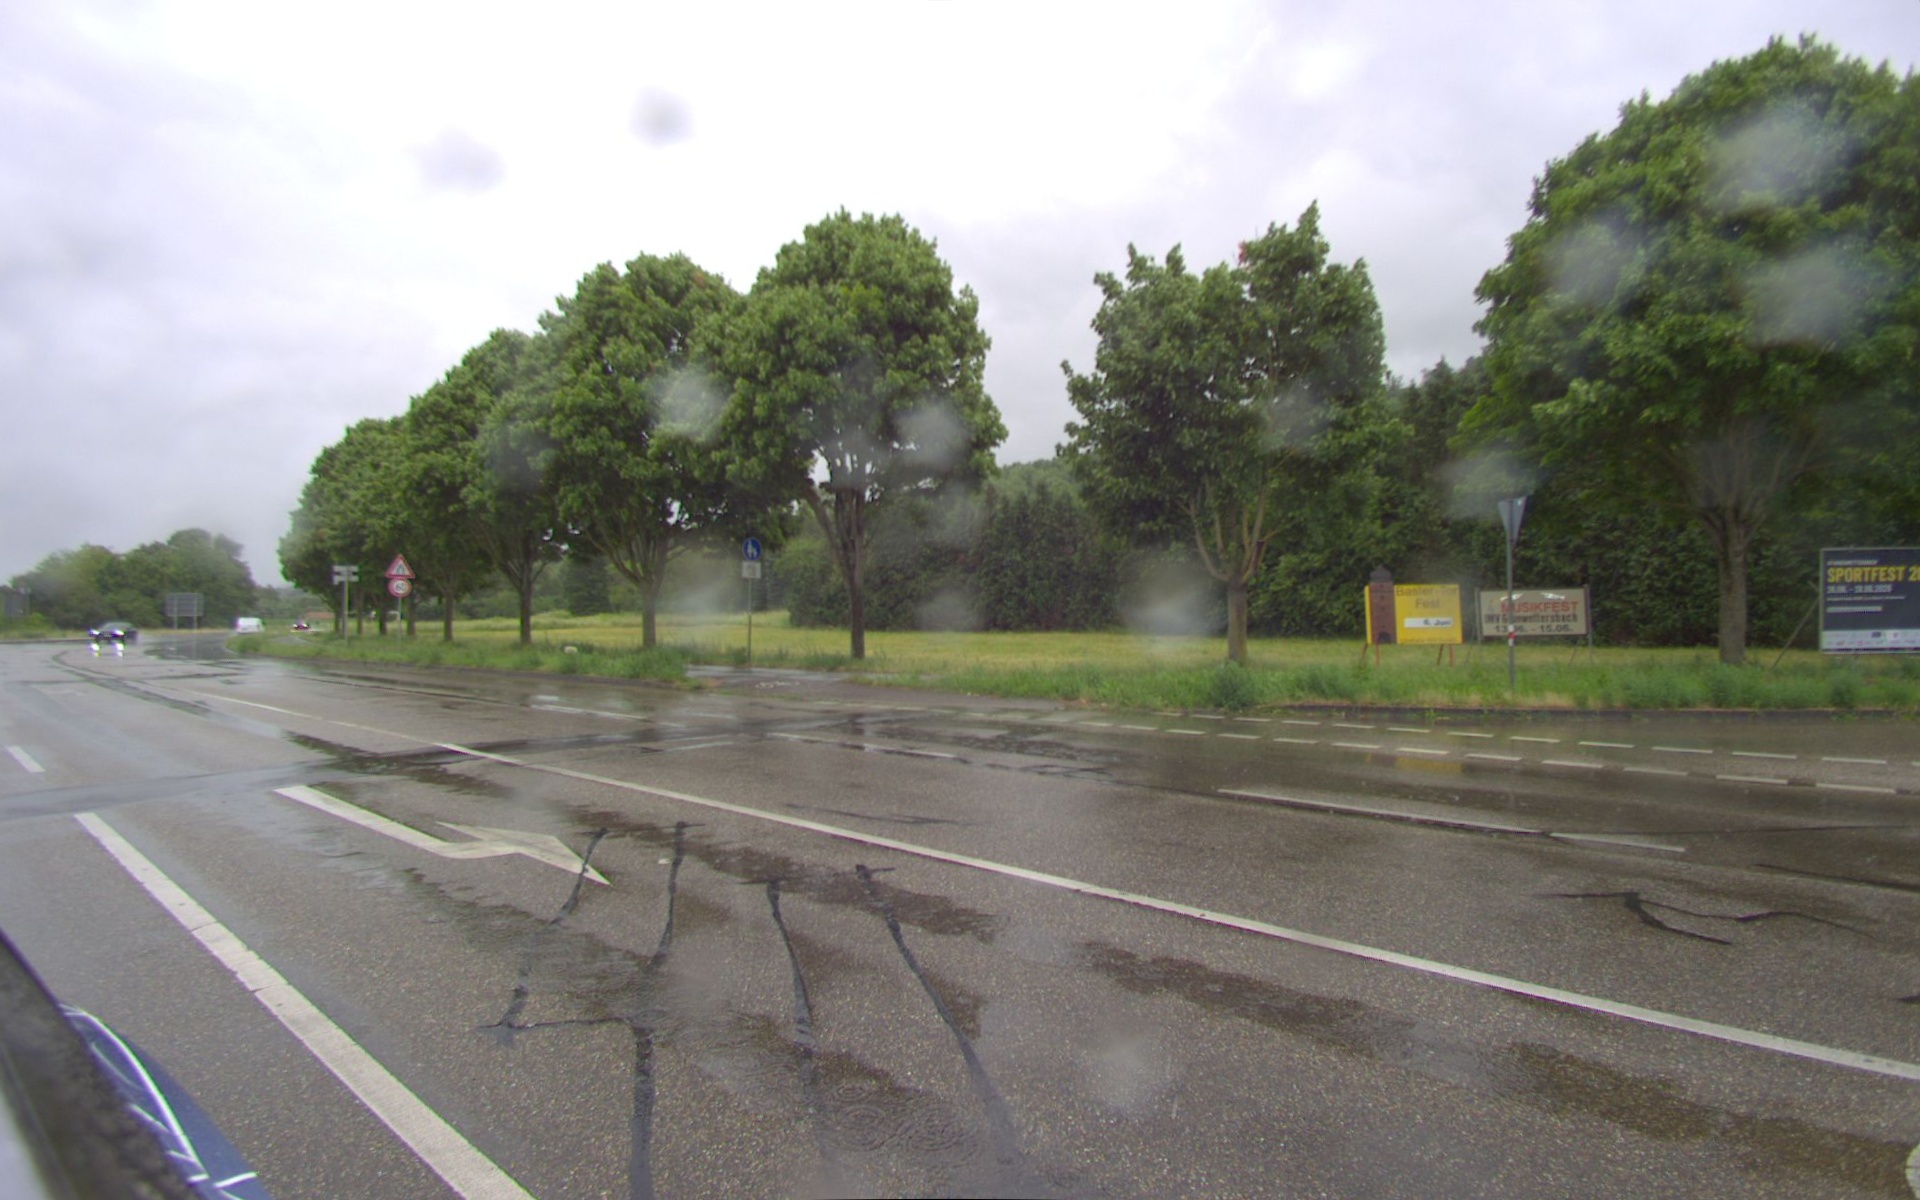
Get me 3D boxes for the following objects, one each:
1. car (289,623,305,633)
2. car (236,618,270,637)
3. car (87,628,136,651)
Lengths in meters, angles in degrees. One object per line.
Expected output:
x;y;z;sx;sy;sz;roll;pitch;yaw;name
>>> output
-117.767;4.972;179.892;1.884;1.701;4.116;0;-1;-26;car
-74.618;2.888;106.896;2.076;1.907;4.806;0;-1;-24;car
-63.818;2.915;76.165;1.884;1.597;4.116;0;-1;-26;car
